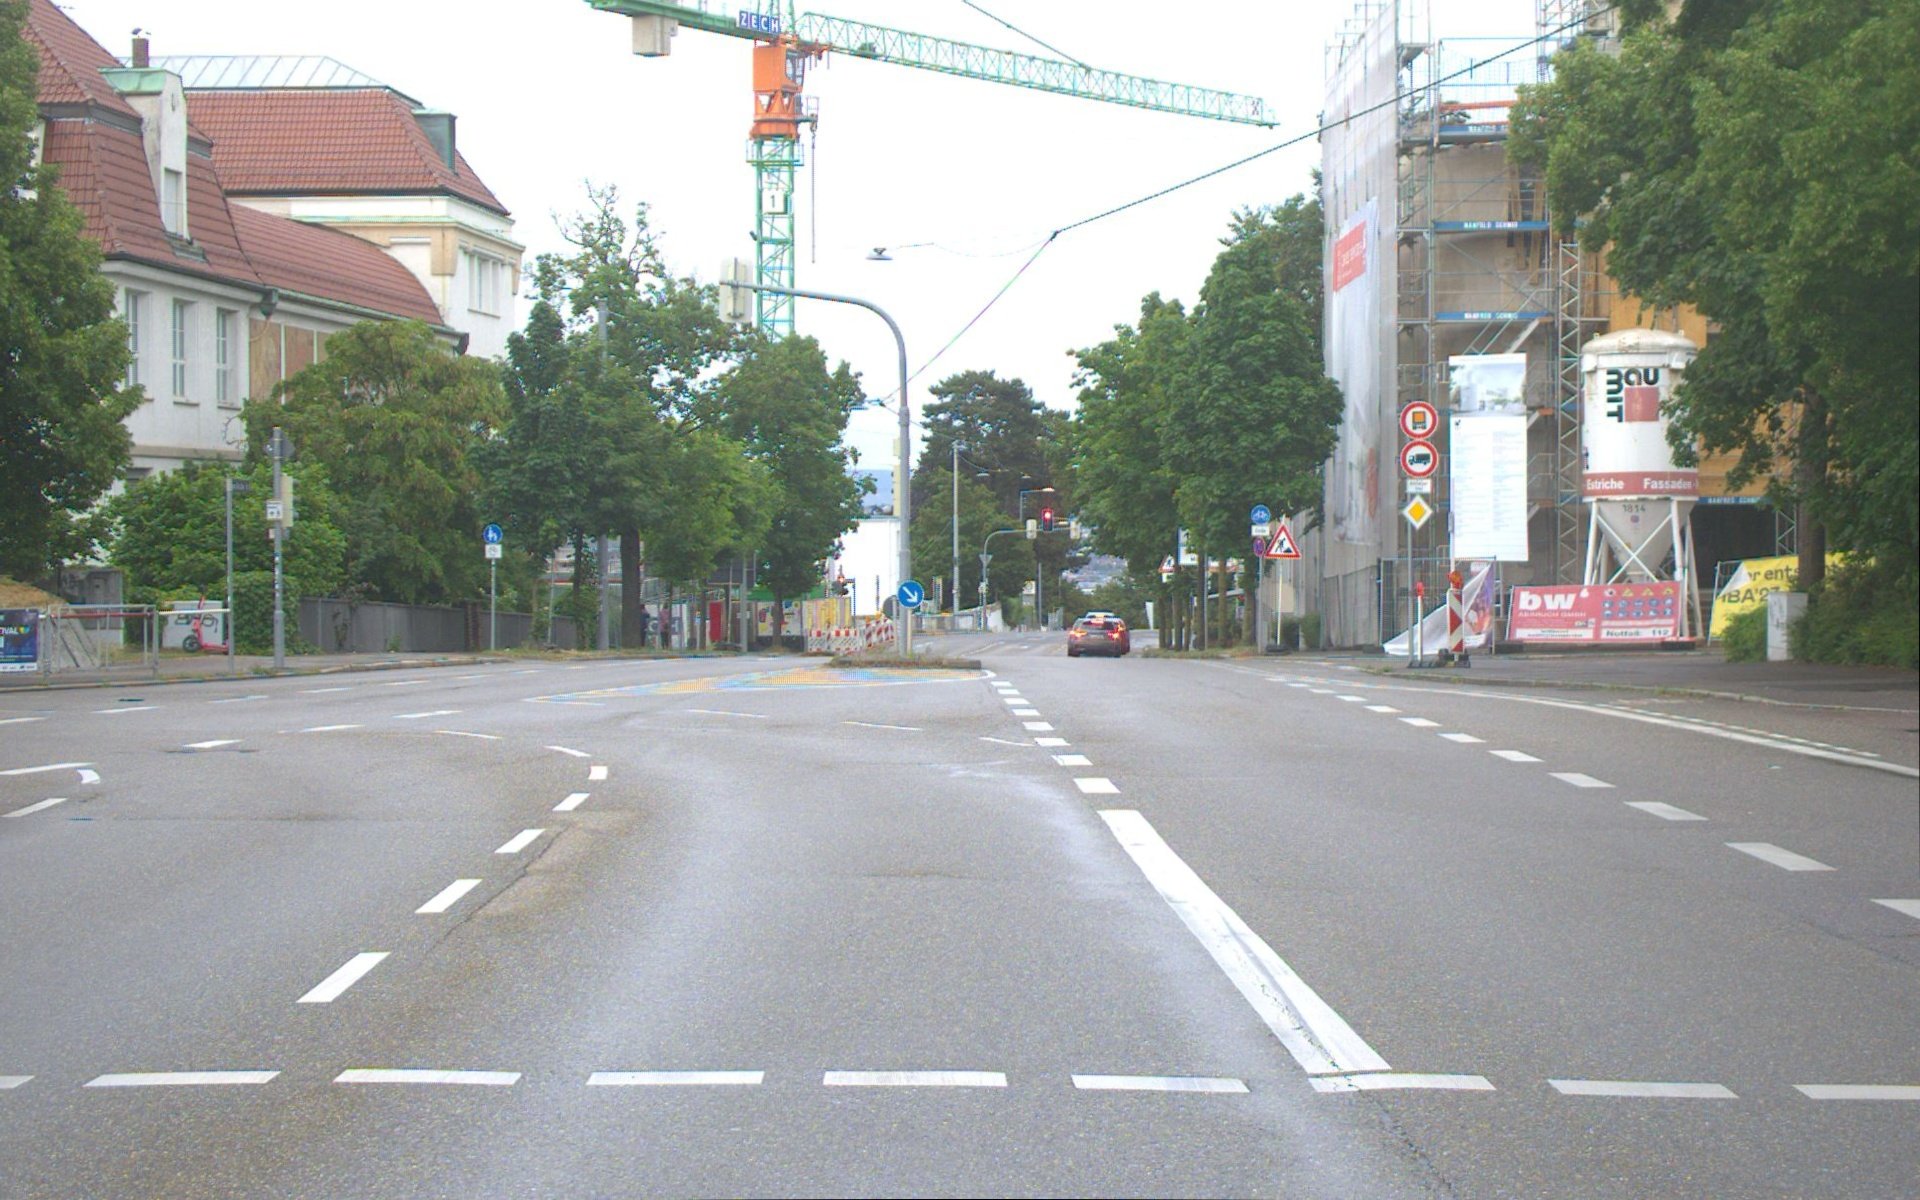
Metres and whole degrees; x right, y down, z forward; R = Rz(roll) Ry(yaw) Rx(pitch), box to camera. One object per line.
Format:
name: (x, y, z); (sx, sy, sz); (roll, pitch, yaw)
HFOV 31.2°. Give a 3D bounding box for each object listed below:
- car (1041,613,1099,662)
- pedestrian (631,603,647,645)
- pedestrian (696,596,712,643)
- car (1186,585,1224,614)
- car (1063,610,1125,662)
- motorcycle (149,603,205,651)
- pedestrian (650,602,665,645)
car: (4.214, 1.438, 131.842); (1.993, 1.744, 4.000); (-1, 1, -1)
pedestrian: (-10.722, 0.795, 114.846); (0.474, 1.391, 0.411); (-1, 1, -1)
pedestrian: (-9.009, 0.675, 121.019); (0.493, 1.640, 0.534); (1, 0, -6)
car: (15.655, -0.026, 219.342); (1.994, 1.744, 3.998); (-1, 1, 11)
car: (4.858, 1.288, 125.079); (1.993, 1.744, 4.000); (-1, 1, -1)
motorcycle: (-14.760, 0.508, 64.847); (0.849, 0.874, 0.877); (1, 0, -1)
pedestrian: (-10.104, 0.784, 114.819); (0.474, 1.392, 0.411); (0, 1, -1)
